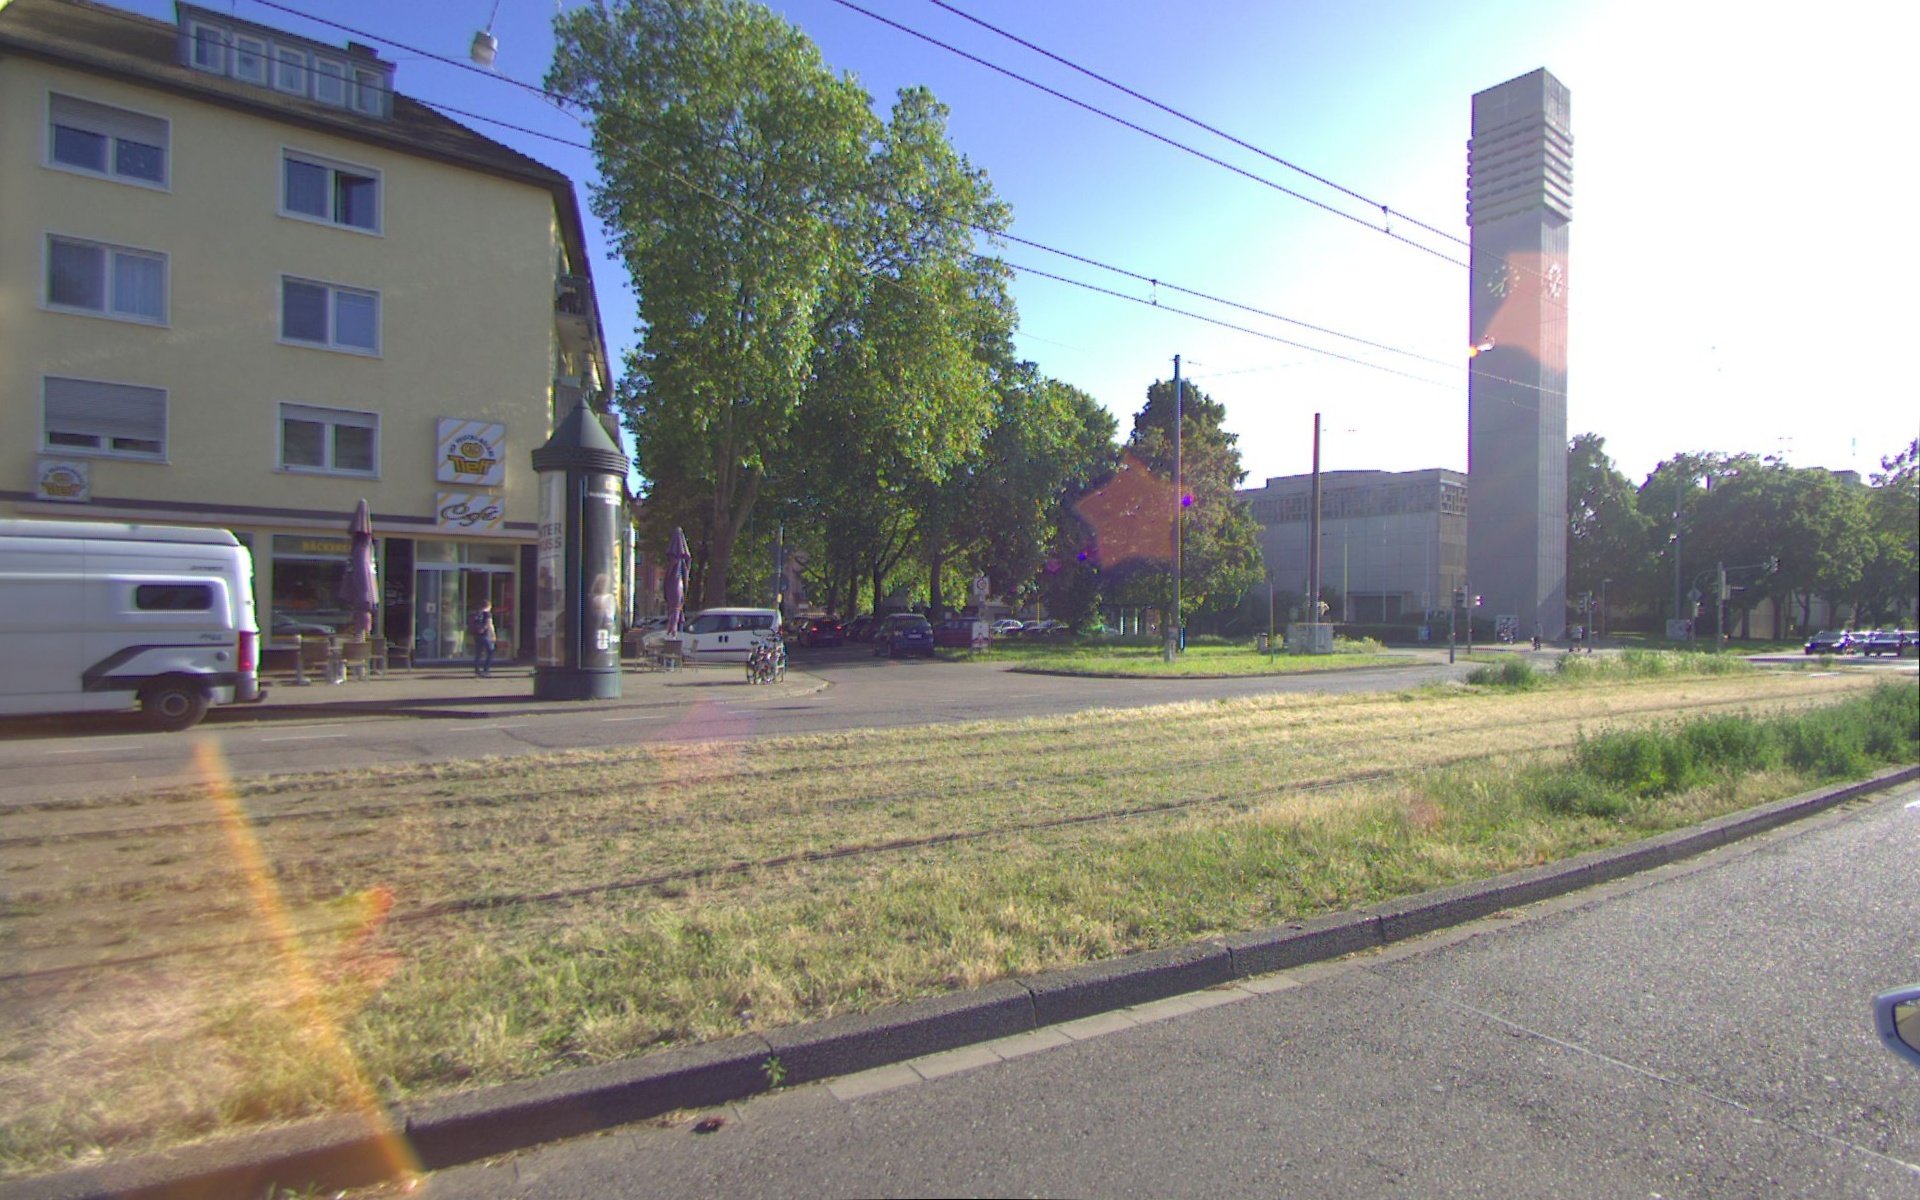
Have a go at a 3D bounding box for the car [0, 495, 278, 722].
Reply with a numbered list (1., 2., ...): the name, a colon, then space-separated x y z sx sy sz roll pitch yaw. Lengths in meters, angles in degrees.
1. car: -12.980 0.089 13.553 6.165 2.907 2.019 2 0 -35

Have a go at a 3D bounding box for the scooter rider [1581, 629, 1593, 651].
1. scooter rider: 36.794 2.329 58.949 0.519 1.234 0.585 3 1 38

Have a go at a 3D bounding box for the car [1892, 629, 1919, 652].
1. car: 61.803 2.633 64.871 3.877 1.421 1.555 2 1 -36

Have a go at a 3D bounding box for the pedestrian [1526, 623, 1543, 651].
1. pedestrian: 34.564 2.224 60.425 0.736 1.689 0.441 2 1 -26

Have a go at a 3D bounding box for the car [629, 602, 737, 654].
1. car: -10.913 1.153 39.662 3.934 1.867 1.994 2 -3 -16

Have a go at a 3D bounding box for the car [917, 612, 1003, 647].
1. car: -0.019 1.333 46.135 3.591 1.399 1.639 2 1 -18

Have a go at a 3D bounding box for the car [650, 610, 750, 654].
1. car: -11.099 1.376 42.937 3.994 1.686 1.994 2 -2 -16

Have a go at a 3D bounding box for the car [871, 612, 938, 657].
1. car: -2.199 1.306 38.662 1.721 1.622 3.986 1 -1 -16

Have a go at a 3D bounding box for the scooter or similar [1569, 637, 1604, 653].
1. scooter or similar: 36.775 2.642 58.981 1.714 0.911 0.561 0 -1 40

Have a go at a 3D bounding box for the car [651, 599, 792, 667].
1. car: -7.326 0.996 30.781 3.941 1.851 1.990 2 1 -22

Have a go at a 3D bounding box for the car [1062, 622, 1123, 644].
1. car: 10.582 2.635 80.267 1.984 1.420 4.662 2 1 -40

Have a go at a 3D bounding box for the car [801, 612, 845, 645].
1. car: -7.317 1.488 53.207 1.721 1.706 3.986 1 -1 -16

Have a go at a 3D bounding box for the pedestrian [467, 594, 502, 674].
1. pedestrian: -10.656 0.757 22.509 0.605 1.745 0.564 2 1 -30

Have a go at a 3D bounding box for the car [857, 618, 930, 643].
1. car: -3.817 1.753 57.940 3.938 1.400 1.579 1 -1 -19

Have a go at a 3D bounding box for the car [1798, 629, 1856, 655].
1. car: 54.235 2.614 62.840 4.318 1.553 1.794 2 -2 -36

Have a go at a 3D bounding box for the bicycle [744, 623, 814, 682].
1. bicycle: -4.119 1.173 23.019 0.509 1.268 2.090 3 0 21

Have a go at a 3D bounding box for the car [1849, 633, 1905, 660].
1. car: 55.635 2.793 60.895 4.318 1.553 1.676 2 -1 -36

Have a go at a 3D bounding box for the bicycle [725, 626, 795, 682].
1. bicycle: -4.605 1.233 23.274 0.509 1.199 2.090 3 -1 21

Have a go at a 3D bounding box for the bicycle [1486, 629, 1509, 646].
1. bicycle: 35.344 2.476 66.017 1.662 1.060 0.489 2 1 -28
